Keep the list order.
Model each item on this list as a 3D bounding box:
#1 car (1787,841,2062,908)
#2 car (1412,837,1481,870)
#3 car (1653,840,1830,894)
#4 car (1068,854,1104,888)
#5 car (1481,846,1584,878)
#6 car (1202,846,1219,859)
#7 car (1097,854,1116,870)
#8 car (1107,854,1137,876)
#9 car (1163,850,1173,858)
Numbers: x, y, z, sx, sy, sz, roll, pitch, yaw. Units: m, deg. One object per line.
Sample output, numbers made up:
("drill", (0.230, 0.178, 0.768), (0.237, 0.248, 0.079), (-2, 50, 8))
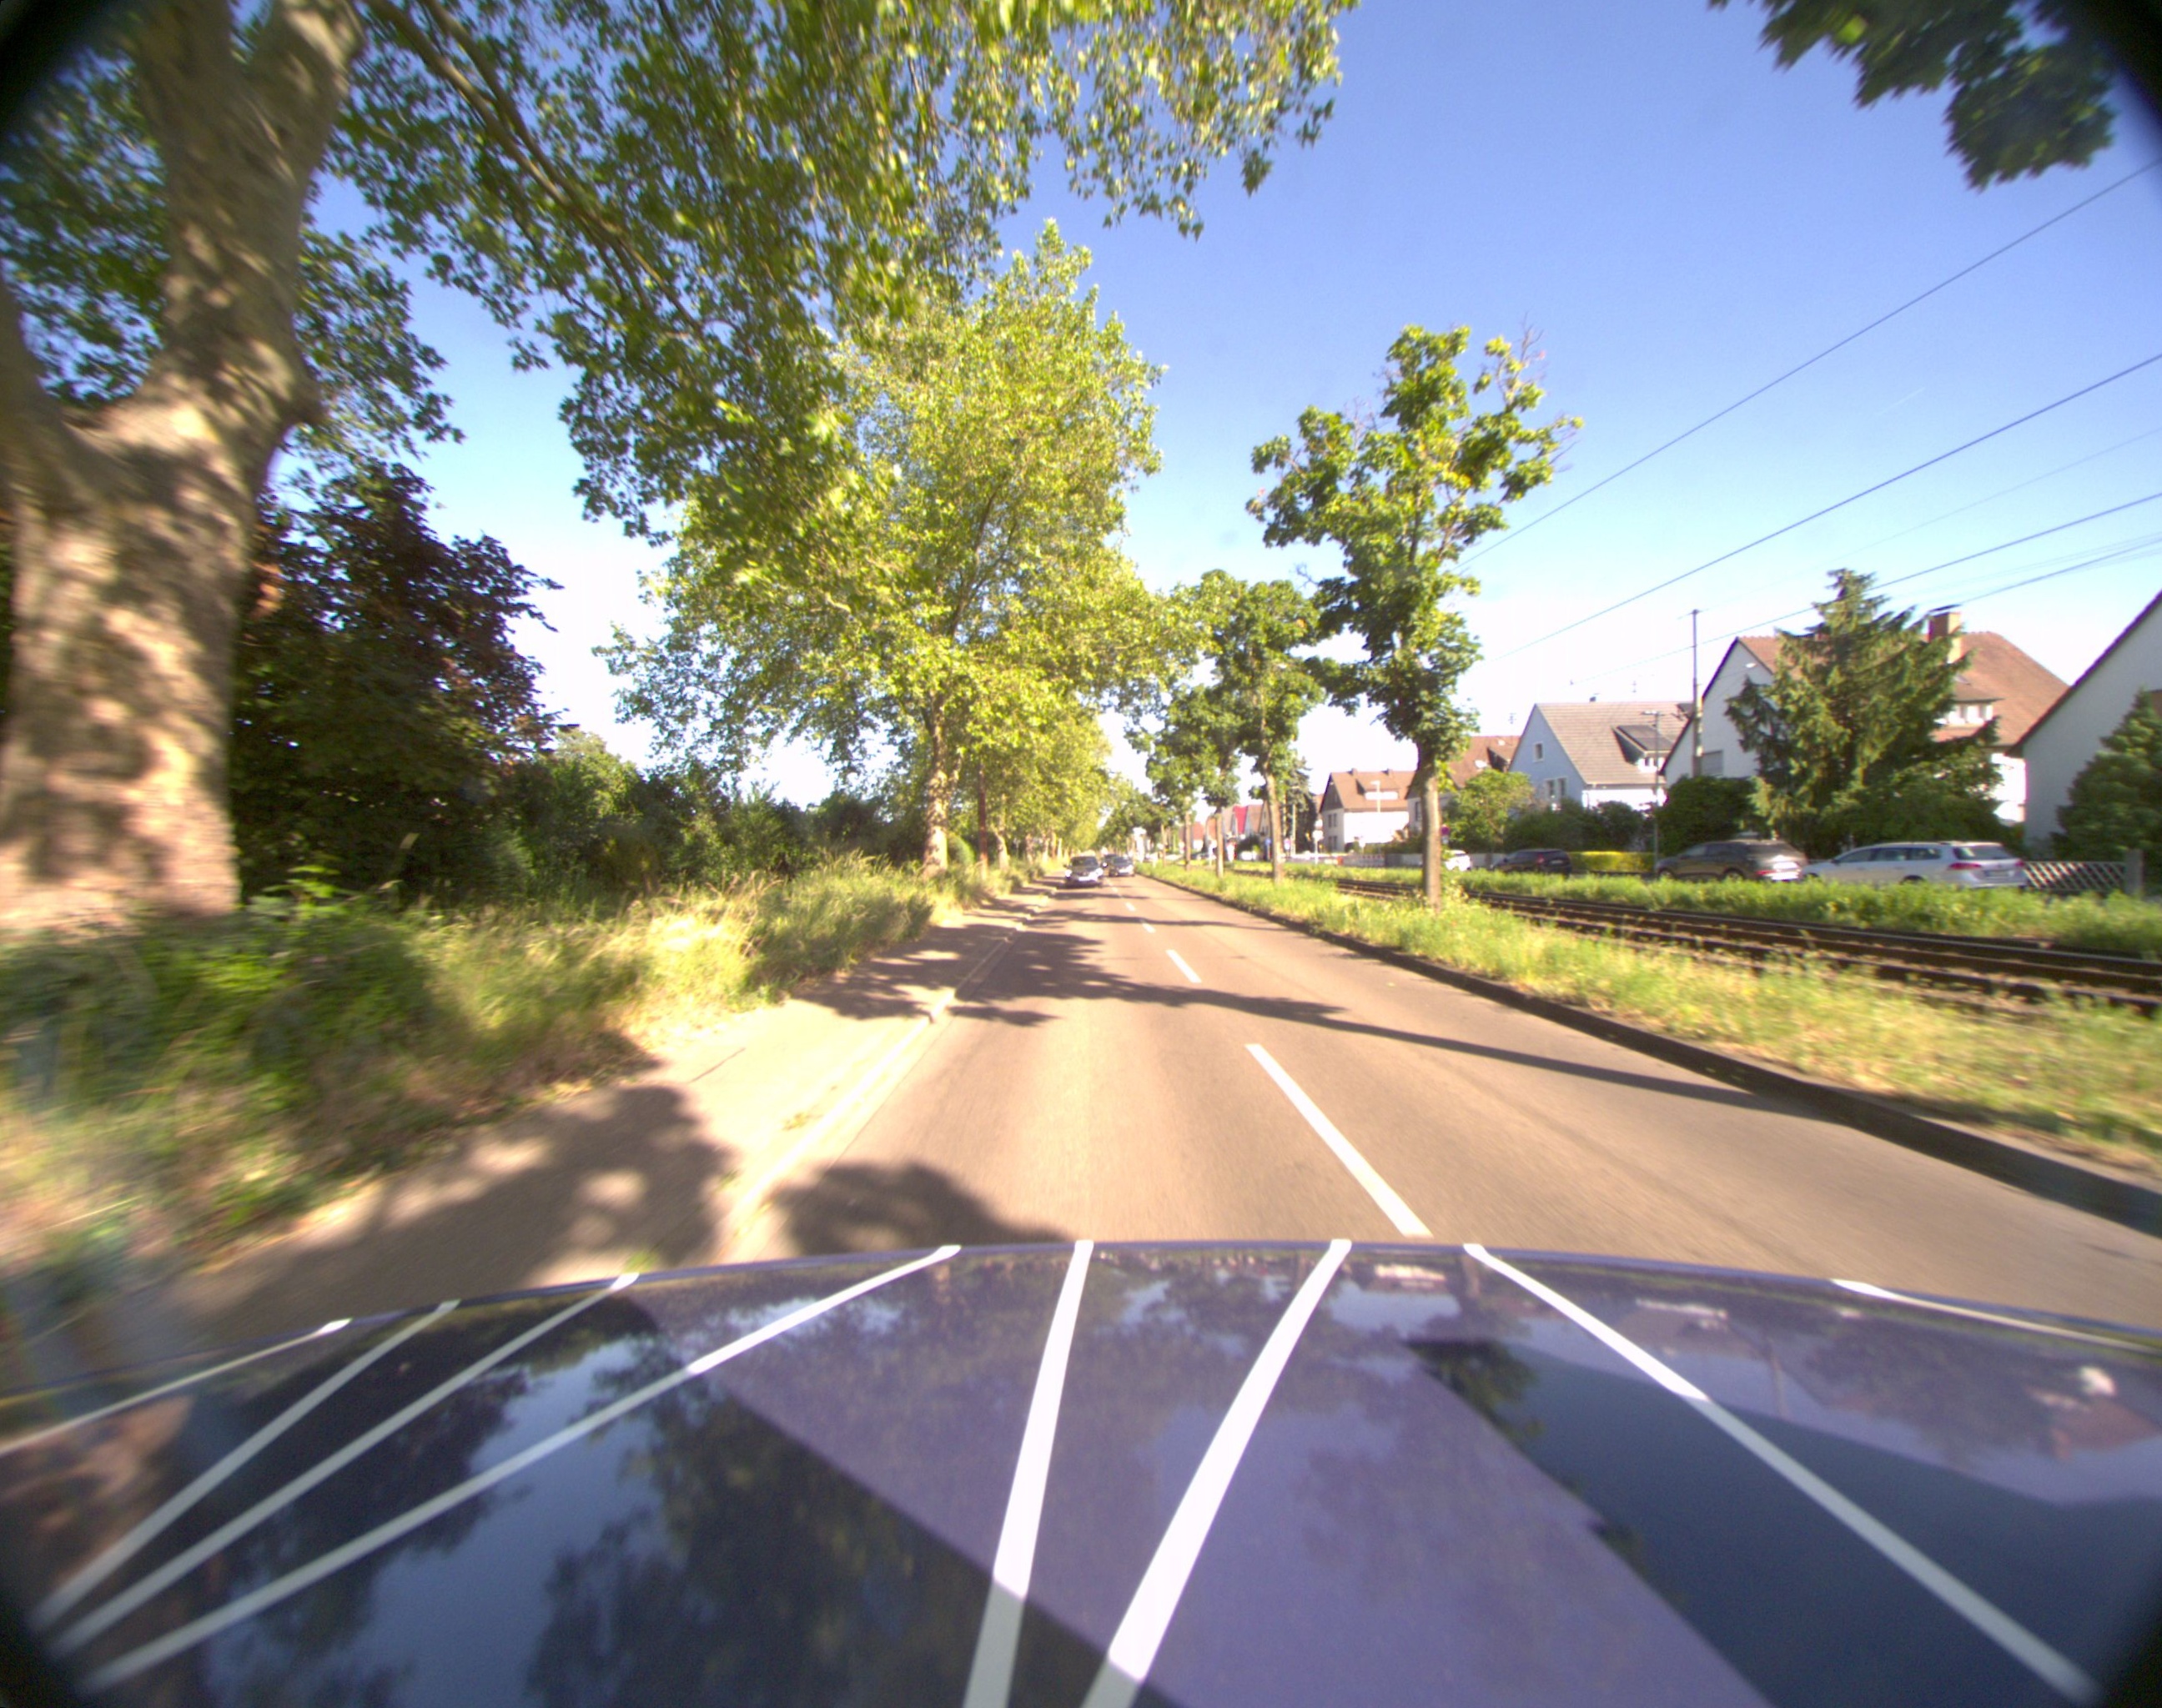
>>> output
("car", (21.737, 0.471, 19.978), (1.888, 1.464, 4.838), (-3, 0, 1))
("car", (21.823, -0.043, 45.578), (1.998, 1.852, 4.584), (-1, 0, 1))
("car", (21.492, 0.382, 25.031), (1.888, 1.552, 4.536), (-3, 0, 1))
("car", (0.215, 0.789, 37.257), (1.673, 1.529, 3.585), (-1, 0, 0))
("car", (21.579, 0.332, 36.575), (1.998, 1.333, 4.981), (-2, 1, 1))
("car", (17.814, -0.203, 104.877), (1.786, 1.674, 4.000), (-1, 0, 1))
("car", (2.591, 0.787, 77.191), (1.779, 1.620, 4.288), (-1, 0, 0))
("car", (2.834, 0.720, 53.575), (1.780, 1.441, 4.333), (-1, 0, -1))
("car", (18.212, 0.035, 159.397), (1.731, 1.581, 4.000), (-1, 0, 1))
